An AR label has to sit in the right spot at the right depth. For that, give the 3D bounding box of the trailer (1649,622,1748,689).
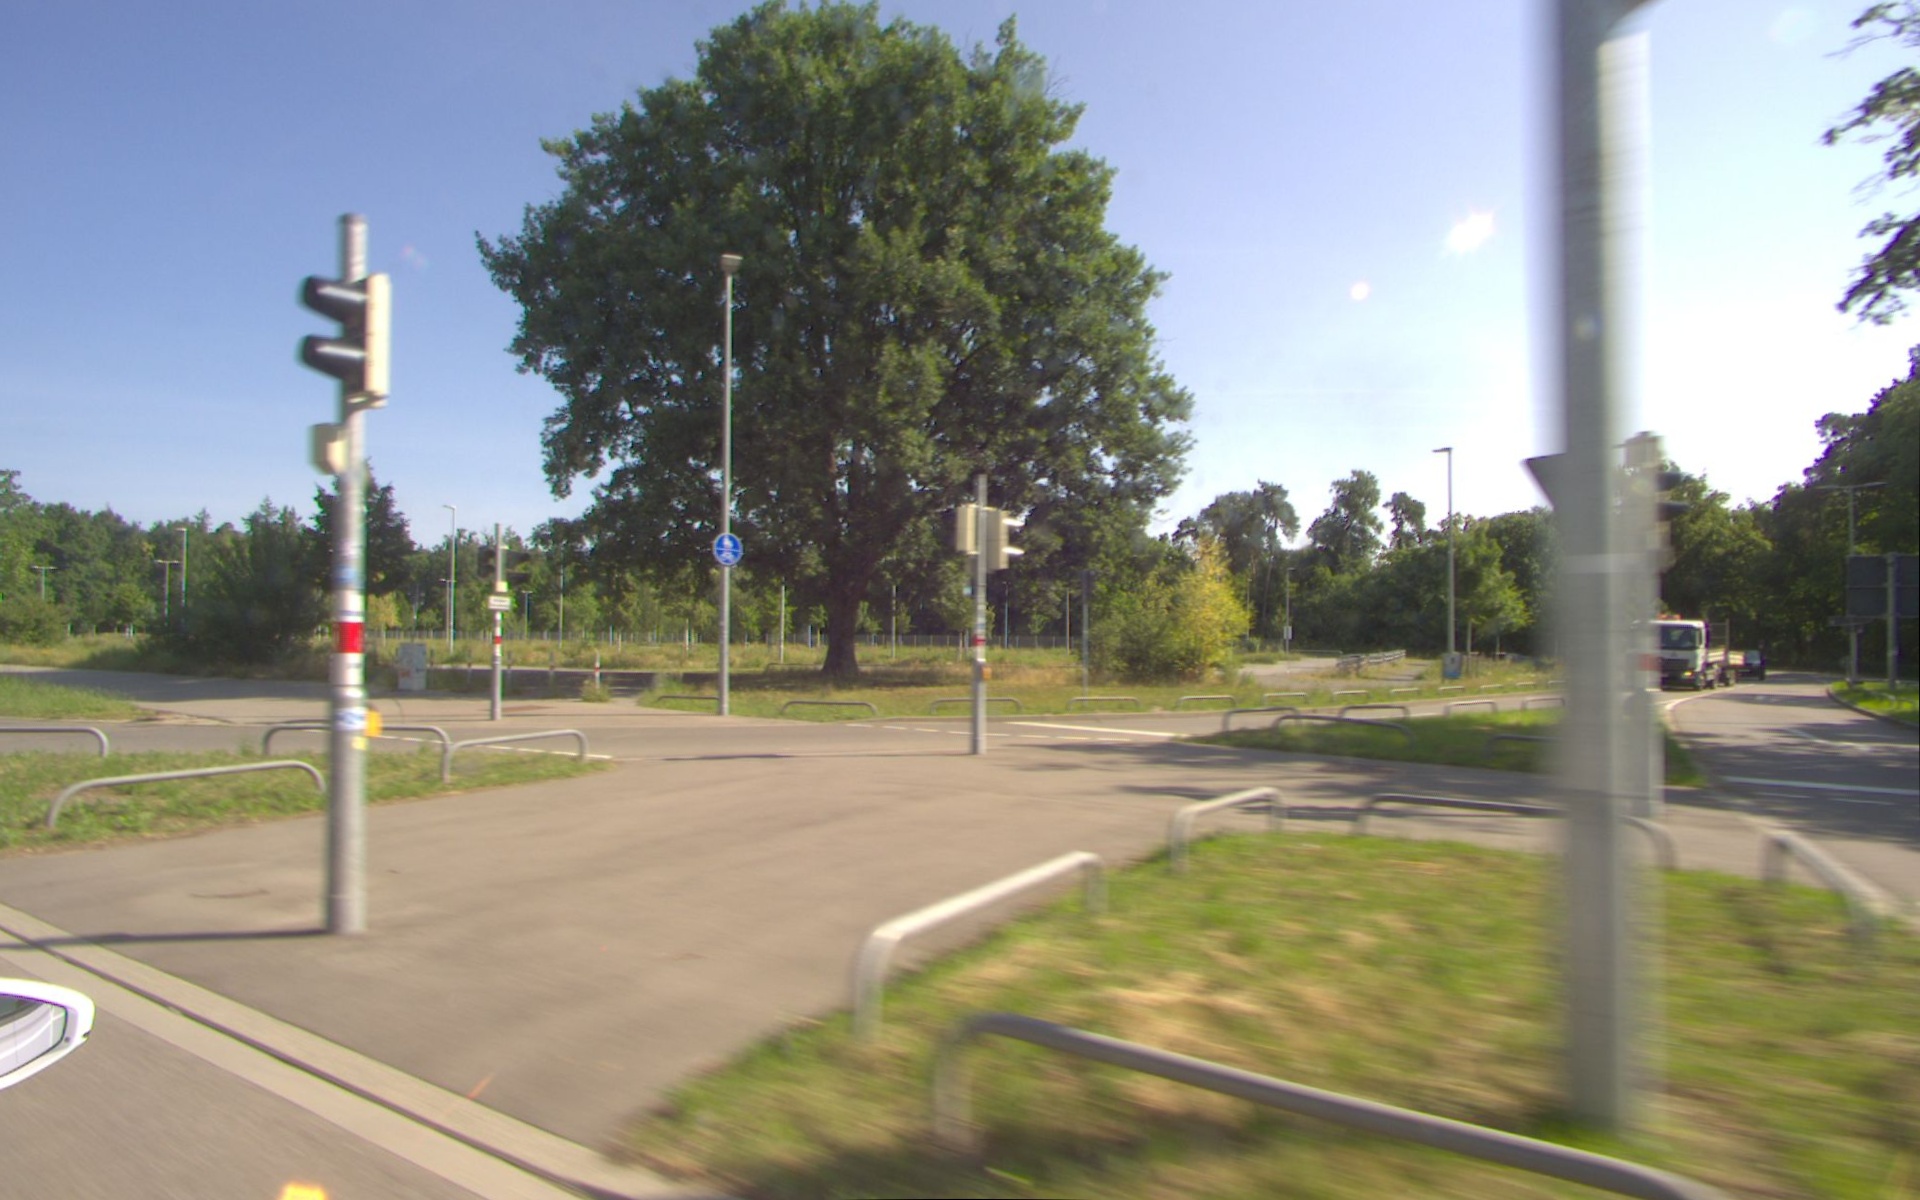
[{"bbox_3d":[32.235,2.410,43.596,2.675,2.721,6.831,-1,-3,43],"label":"trailer"}]

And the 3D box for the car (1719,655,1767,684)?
[{"bbox_3d":[43.277,3.797,55.290,1.826,1.502,3.968,0,-3,42],"label":"car"}]

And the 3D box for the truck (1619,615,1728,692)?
[{"bbox_3d":[27.797,2.080,38.885,2.652,2.752,6.151,-1,-3,43],"label":"truck"}]
